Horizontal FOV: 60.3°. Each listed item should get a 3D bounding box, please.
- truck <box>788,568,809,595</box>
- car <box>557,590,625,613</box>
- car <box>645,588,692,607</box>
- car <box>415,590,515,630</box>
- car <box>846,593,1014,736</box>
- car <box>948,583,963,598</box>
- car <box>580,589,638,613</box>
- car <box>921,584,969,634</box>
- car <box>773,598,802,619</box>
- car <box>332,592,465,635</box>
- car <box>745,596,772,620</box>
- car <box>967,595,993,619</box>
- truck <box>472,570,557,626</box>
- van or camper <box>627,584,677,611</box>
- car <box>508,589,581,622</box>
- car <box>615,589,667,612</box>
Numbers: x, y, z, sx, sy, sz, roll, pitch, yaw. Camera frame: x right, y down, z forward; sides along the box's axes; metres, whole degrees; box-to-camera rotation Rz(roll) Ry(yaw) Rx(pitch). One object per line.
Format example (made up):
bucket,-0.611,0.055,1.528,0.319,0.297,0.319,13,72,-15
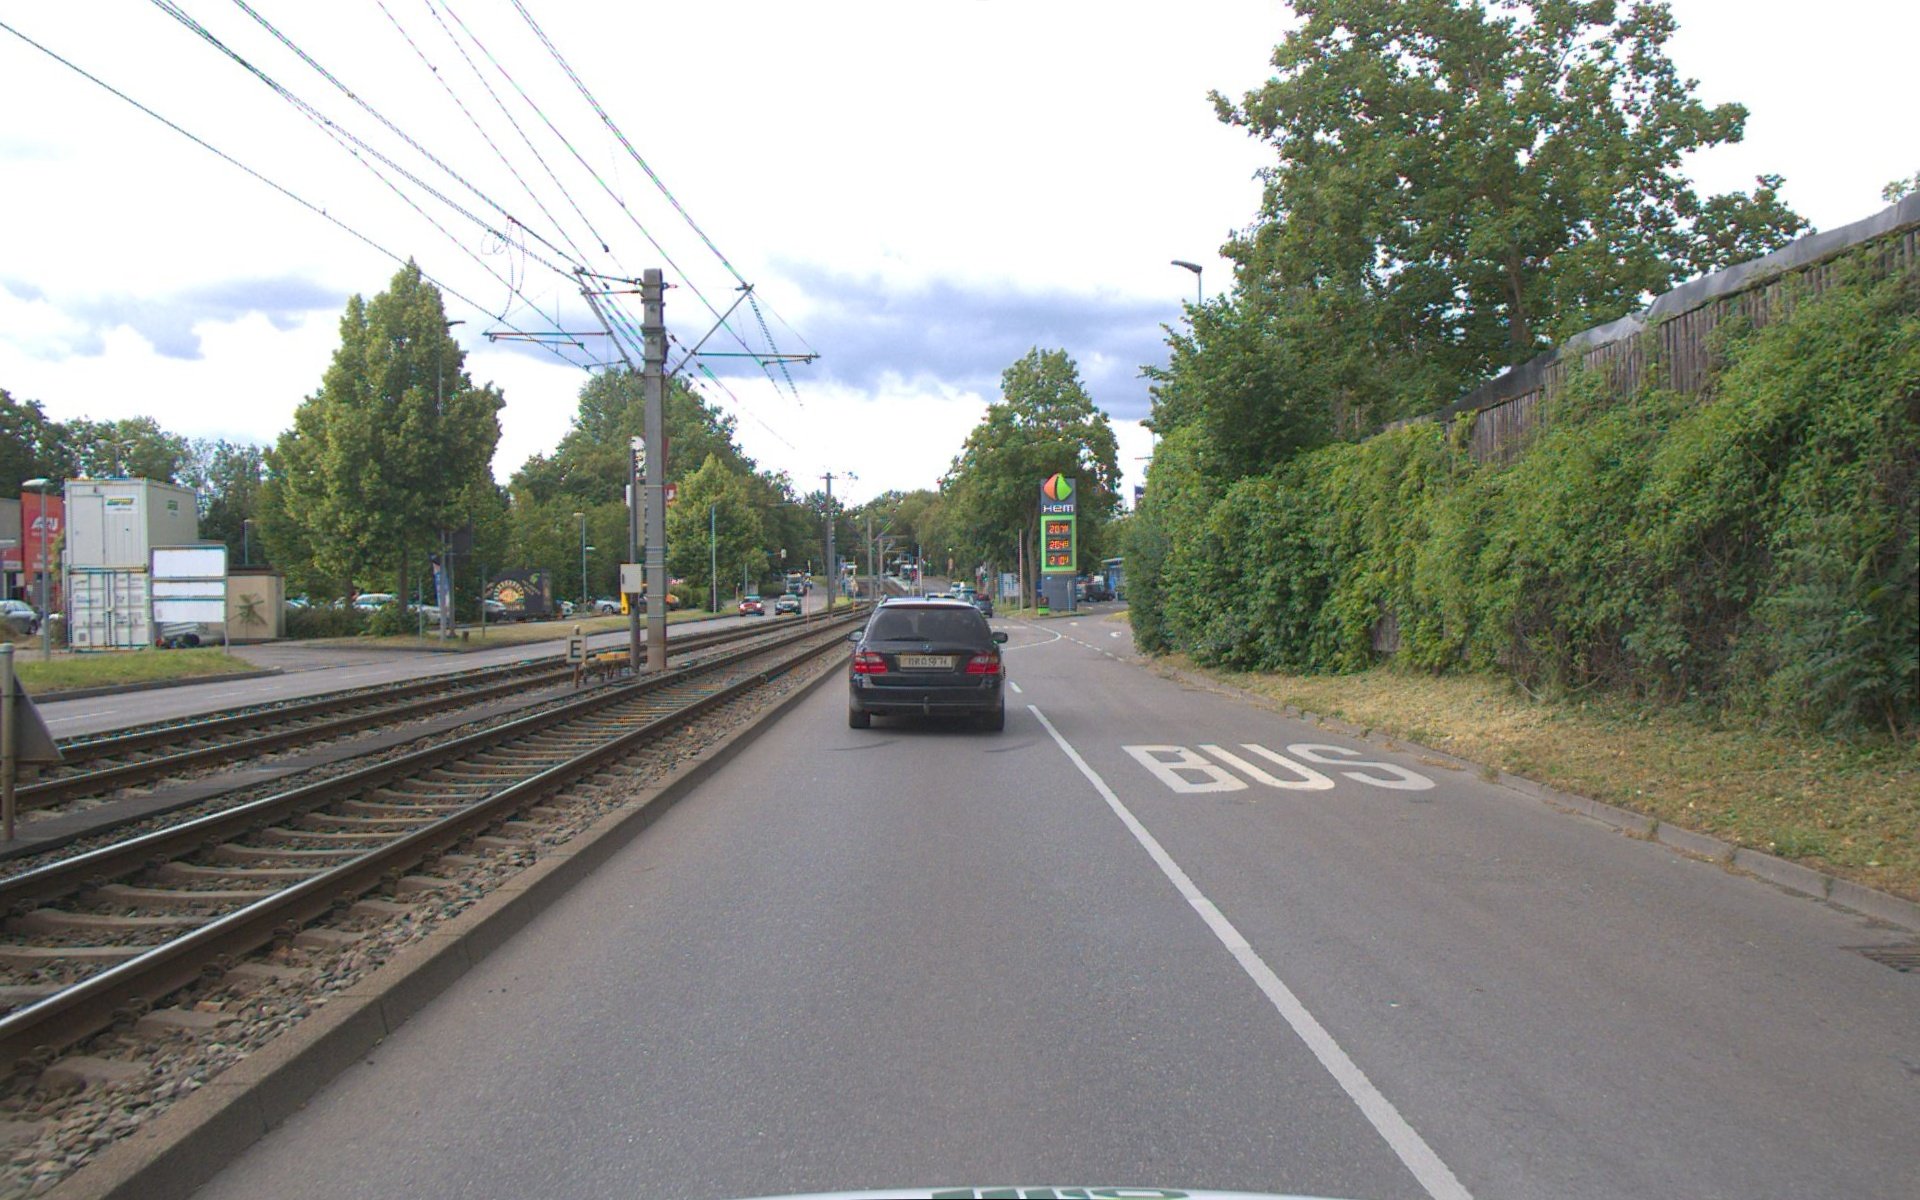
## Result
truck,-23.160,-2.667,237.759,2.653,3.727,11.103,-1,0,-4
car,-24.821,0.081,111.267,4.221,1.497,1.679,-1,0,-3
car,-25.784,-0.227,146.257,3.910,1.627,1.794,-1,0,-6
car,-23.582,0.467,78.923,4.136,1.757,1.994,-1,0,-3
car,-0.341,0.676,19.485,1.772,1.500,3.880,0,0,-1
car,-0.648,-1.240,219.573,1.953,1.870,3.999,1,0,-1
car,-25.428,0.095,119.992,3.910,1.627,1.876,-1,0,-6
car,-0.572,0.338,62.511,1.744,1.781,3.717,1,0,-1
car,-12.750,0.629,122.530,1.724,1.425,4.442,-3,0,-2
car,-23.587,0.568,69.627,4.683,1.657,2.652,-1,1,0
car,-15.305,0.606,125.740,1.756,1.803,3.998,-1,0,-3
car,1.242,0.437,104.685,1.539,1.439,3.353,1,0,-1
truck,-23.742,-0.122,88.312,3.908,2.871,2.374,-1,0,-4
van or camper,-25.598,-0.210,137.509,3.910,2.172,1.876,0,0,-6
car,-24.524,0.337,97.788,3.910,1.829,1.876,-1,0,-6
car,-25.458,0.031,132.167,3.910,1.829,1.876,-1,0,-6
